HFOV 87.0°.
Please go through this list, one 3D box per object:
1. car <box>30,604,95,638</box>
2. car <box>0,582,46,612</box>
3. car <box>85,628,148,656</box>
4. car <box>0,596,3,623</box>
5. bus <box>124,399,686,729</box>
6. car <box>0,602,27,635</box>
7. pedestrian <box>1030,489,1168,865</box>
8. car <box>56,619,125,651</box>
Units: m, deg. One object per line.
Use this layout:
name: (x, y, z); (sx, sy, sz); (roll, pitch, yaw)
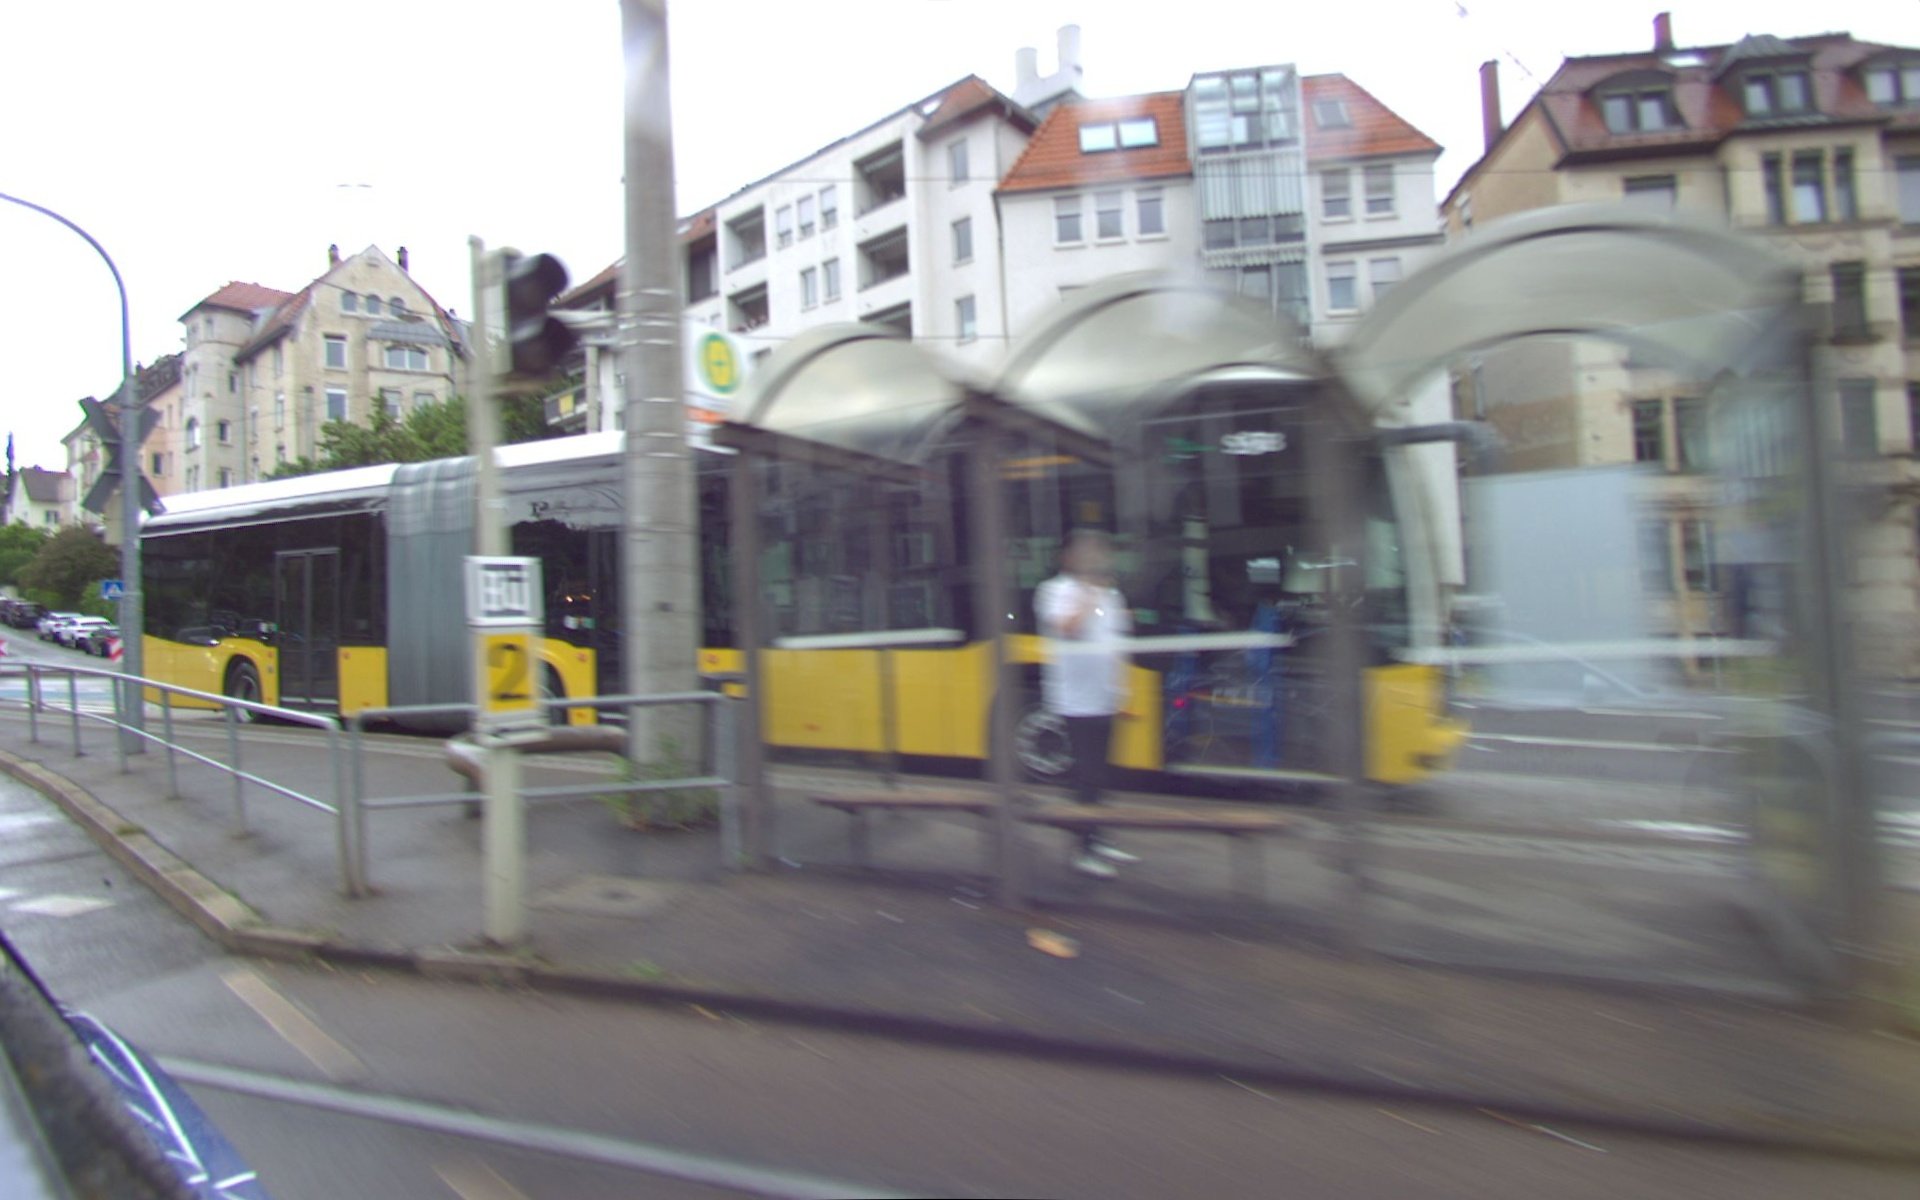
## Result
car: (-50.426, 1.200, 56.847); (4.275, 1.849, 1.784); (-1, -3, 36)
car: (-58.720, -0.147, 63.255); (3.658, 1.849, 1.661); (-1, -1, 36)
car: (-40.664, 1.977, 48.752); (4.355, 1.232, 1.729); (-1, -1, 42)
car: (-67.111, 0.633, 69.297); (3.658, 1.849, 1.661); (-1, -1, 36)
bus: (-8.061, -0.348, 14.117); (9.071, 3.495, 2.572); (0, -1, 30)
car: (-61.968, 1.182, 65.331); (3.995, 2.029, 1.974); (-1, -1, 38)
pedestrian: (0.713, 0.362, 5.136); (0.540, 1.765, 0.573); (0, -1, 27)
car: (-45.915, 1.813, 53.434); (4.351, 1.605, 1.974); (-1, -1, 38)
